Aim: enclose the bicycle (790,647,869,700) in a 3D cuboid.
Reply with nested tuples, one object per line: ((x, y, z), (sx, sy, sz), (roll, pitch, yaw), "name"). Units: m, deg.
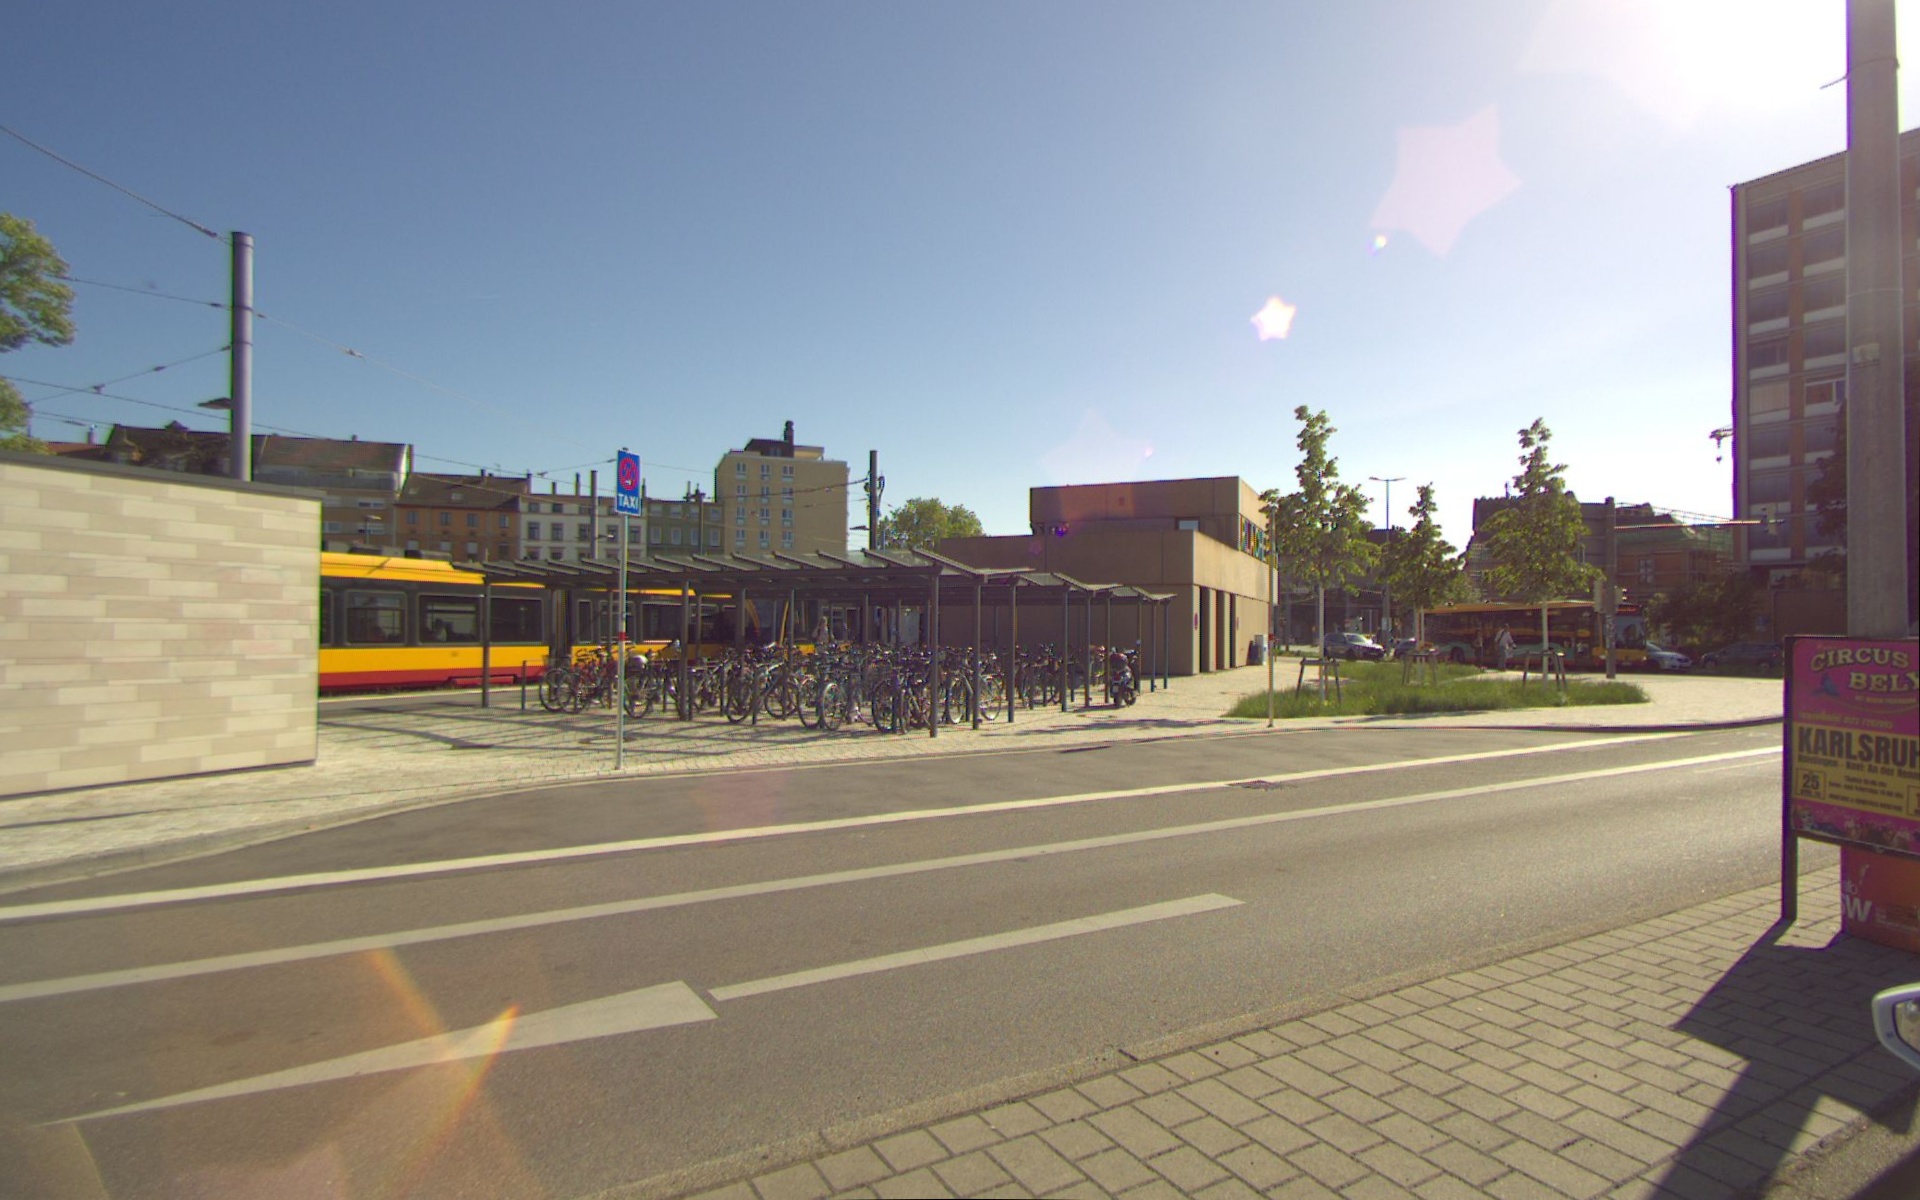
((-2.845, 1.597, 22.105), (0.572, 1.102, 2.055), (1, -2, 29), "bicycle")

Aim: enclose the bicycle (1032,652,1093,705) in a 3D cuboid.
((2.282, 1.701, 22.103), (0.572, 1.102, 2.013), (1, -2, 29), "bicycle")

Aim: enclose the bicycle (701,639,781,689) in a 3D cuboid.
((-5.061, 1.476, 23.385), (0.572, 1.102, 2.055), (1, -2, 29), "bicycle")

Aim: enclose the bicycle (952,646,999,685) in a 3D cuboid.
((0.484, 1.908, 29.428), (0.571, 1.102, 1.869), (1, -2, 28), "bicycle")

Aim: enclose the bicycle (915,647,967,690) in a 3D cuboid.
((-0.502, 1.851, 27.434), (0.571, 1.102, 1.869), (1, -2, 28), "bicycle")

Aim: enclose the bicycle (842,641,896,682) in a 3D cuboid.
((-2.542, 1.715, 28.325), (0.571, 1.102, 1.869), (1, -2, 28), "bicycle")

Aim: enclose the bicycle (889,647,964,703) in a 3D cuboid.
((-0.685, 1.563, 21.210), (0.572, 1.102, 2.055), (1, -2, 29), "bicycle")

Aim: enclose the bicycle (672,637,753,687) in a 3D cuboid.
((-5.832, 1.461, 23.767), (0.572, 1.102, 2.055), (1, -2, 29), "bicycle")

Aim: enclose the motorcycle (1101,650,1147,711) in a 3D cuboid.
((3.449, 1.648, 21.049), (0.542, 1.192, 1.921), (1, -2, 21), "motorcycle")

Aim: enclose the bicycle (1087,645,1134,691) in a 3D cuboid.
((3.821, 1.701, 25.388), (0.571, 1.102, 1.869), (1, -2, 27), "bicycle")

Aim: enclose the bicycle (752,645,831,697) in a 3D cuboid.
((-3.773, 1.581, 22.632), (0.572, 1.102, 2.055), (1, -2, 29), "bicycle")

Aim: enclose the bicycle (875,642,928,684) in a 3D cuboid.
((-1.606, 1.736, 27.939), (0.571, 1.102, 1.869), (1, -2, 28), "bicycle")

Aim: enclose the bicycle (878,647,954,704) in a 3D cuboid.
((-0.891, 1.548, 20.984), (0.572, 1.102, 2.055), (1, -2, 29), "bicycle")

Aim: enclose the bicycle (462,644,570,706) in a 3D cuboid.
((-8.105, 1.352, 18.413), (0.571, 1.072, 1.814), (1, -2, 27), "bicycle")

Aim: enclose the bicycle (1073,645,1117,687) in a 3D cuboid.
((3.740, 1.804, 27.636), (0.571, 1.102, 1.869), (1, -2, 28), "bicycle")

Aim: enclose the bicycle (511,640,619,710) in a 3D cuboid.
((-6.904, 1.297, 17.652), (0.571, 1.147, 1.814), (1, -2, 27), "bicycle")

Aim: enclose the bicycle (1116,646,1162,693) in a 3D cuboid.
((4.470, 1.710, 24.958), (0.571, 1.102, 1.869), (1, -2, 27), "bicycle")

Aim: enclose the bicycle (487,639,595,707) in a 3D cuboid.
((-7.488, 1.289, 18.044), (0.571, 1.135, 1.814), (1, -2, 27), "bicycle")

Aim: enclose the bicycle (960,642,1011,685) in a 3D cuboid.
((0.694, 1.685, 26.937), (0.571, 1.102, 1.869), (1, -2, 28), "bicycle")

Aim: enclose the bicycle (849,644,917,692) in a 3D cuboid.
((-1.832, 1.628, 24.347), (0.572, 1.102, 2.055), (1, -2, 29), "bicycle")

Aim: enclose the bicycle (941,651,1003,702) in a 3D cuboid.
((0.303, 1.728, 23.108), (0.572, 1.102, 1.897), (1, -2, 29), "bicycle")

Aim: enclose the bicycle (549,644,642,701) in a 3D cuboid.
((-7.263, 1.424, 20.098), (0.545, 1.072, 1.814), (1, -2, 27), "bicycle")

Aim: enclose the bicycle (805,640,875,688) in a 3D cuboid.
((-2.934, 1.570, 24.805), (0.572, 1.102, 2.055), (1, -2, 29), "bicycle")

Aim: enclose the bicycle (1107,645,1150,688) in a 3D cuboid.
((4.586, 1.797, 27.211), (0.571, 1.102, 1.869), (1, -2, 28), "bicycle")

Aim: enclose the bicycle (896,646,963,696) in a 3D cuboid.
((-0.691, 1.647, 23.702), (0.572, 1.102, 2.055), (1, -2, 29), "bicycle")

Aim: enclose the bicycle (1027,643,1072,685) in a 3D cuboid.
((2.520, 1.776, 28.137), (0.571, 1.102, 1.869), (1, -2, 28), "bicycle")

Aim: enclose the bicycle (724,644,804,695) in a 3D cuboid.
((-4.451, 1.569, 23.001), (0.572, 1.102, 2.055), (1, -2, 29), "bicycle")

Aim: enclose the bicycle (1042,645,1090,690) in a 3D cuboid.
((2.757, 1.724, 25.875), (0.571, 1.102, 1.869), (1, -2, 27), "bicycle")

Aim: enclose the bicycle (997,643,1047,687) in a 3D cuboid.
((1.639, 1.702, 26.407), (0.571, 1.102, 1.869), (1, -2, 28), "bicycle")

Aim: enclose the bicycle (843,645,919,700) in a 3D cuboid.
((-1.676, 1.543, 21.673), (0.572, 1.102, 2.055), (1, -2, 29), "bicycle")

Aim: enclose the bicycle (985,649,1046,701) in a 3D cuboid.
((1.273, 1.685, 22.718), (0.572, 1.102, 1.926), (1, -2, 29), "bicycle")

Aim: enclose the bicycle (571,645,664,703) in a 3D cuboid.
((-6.715, 1.434, 19.808), (0.571, 1.072, 1.814), (1, -2, 27), "bicycle")

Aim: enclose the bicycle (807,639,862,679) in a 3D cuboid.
((-3.603, 1.698, 28.986), (0.571, 1.102, 1.869), (1, -2, 28), "bicycle")
